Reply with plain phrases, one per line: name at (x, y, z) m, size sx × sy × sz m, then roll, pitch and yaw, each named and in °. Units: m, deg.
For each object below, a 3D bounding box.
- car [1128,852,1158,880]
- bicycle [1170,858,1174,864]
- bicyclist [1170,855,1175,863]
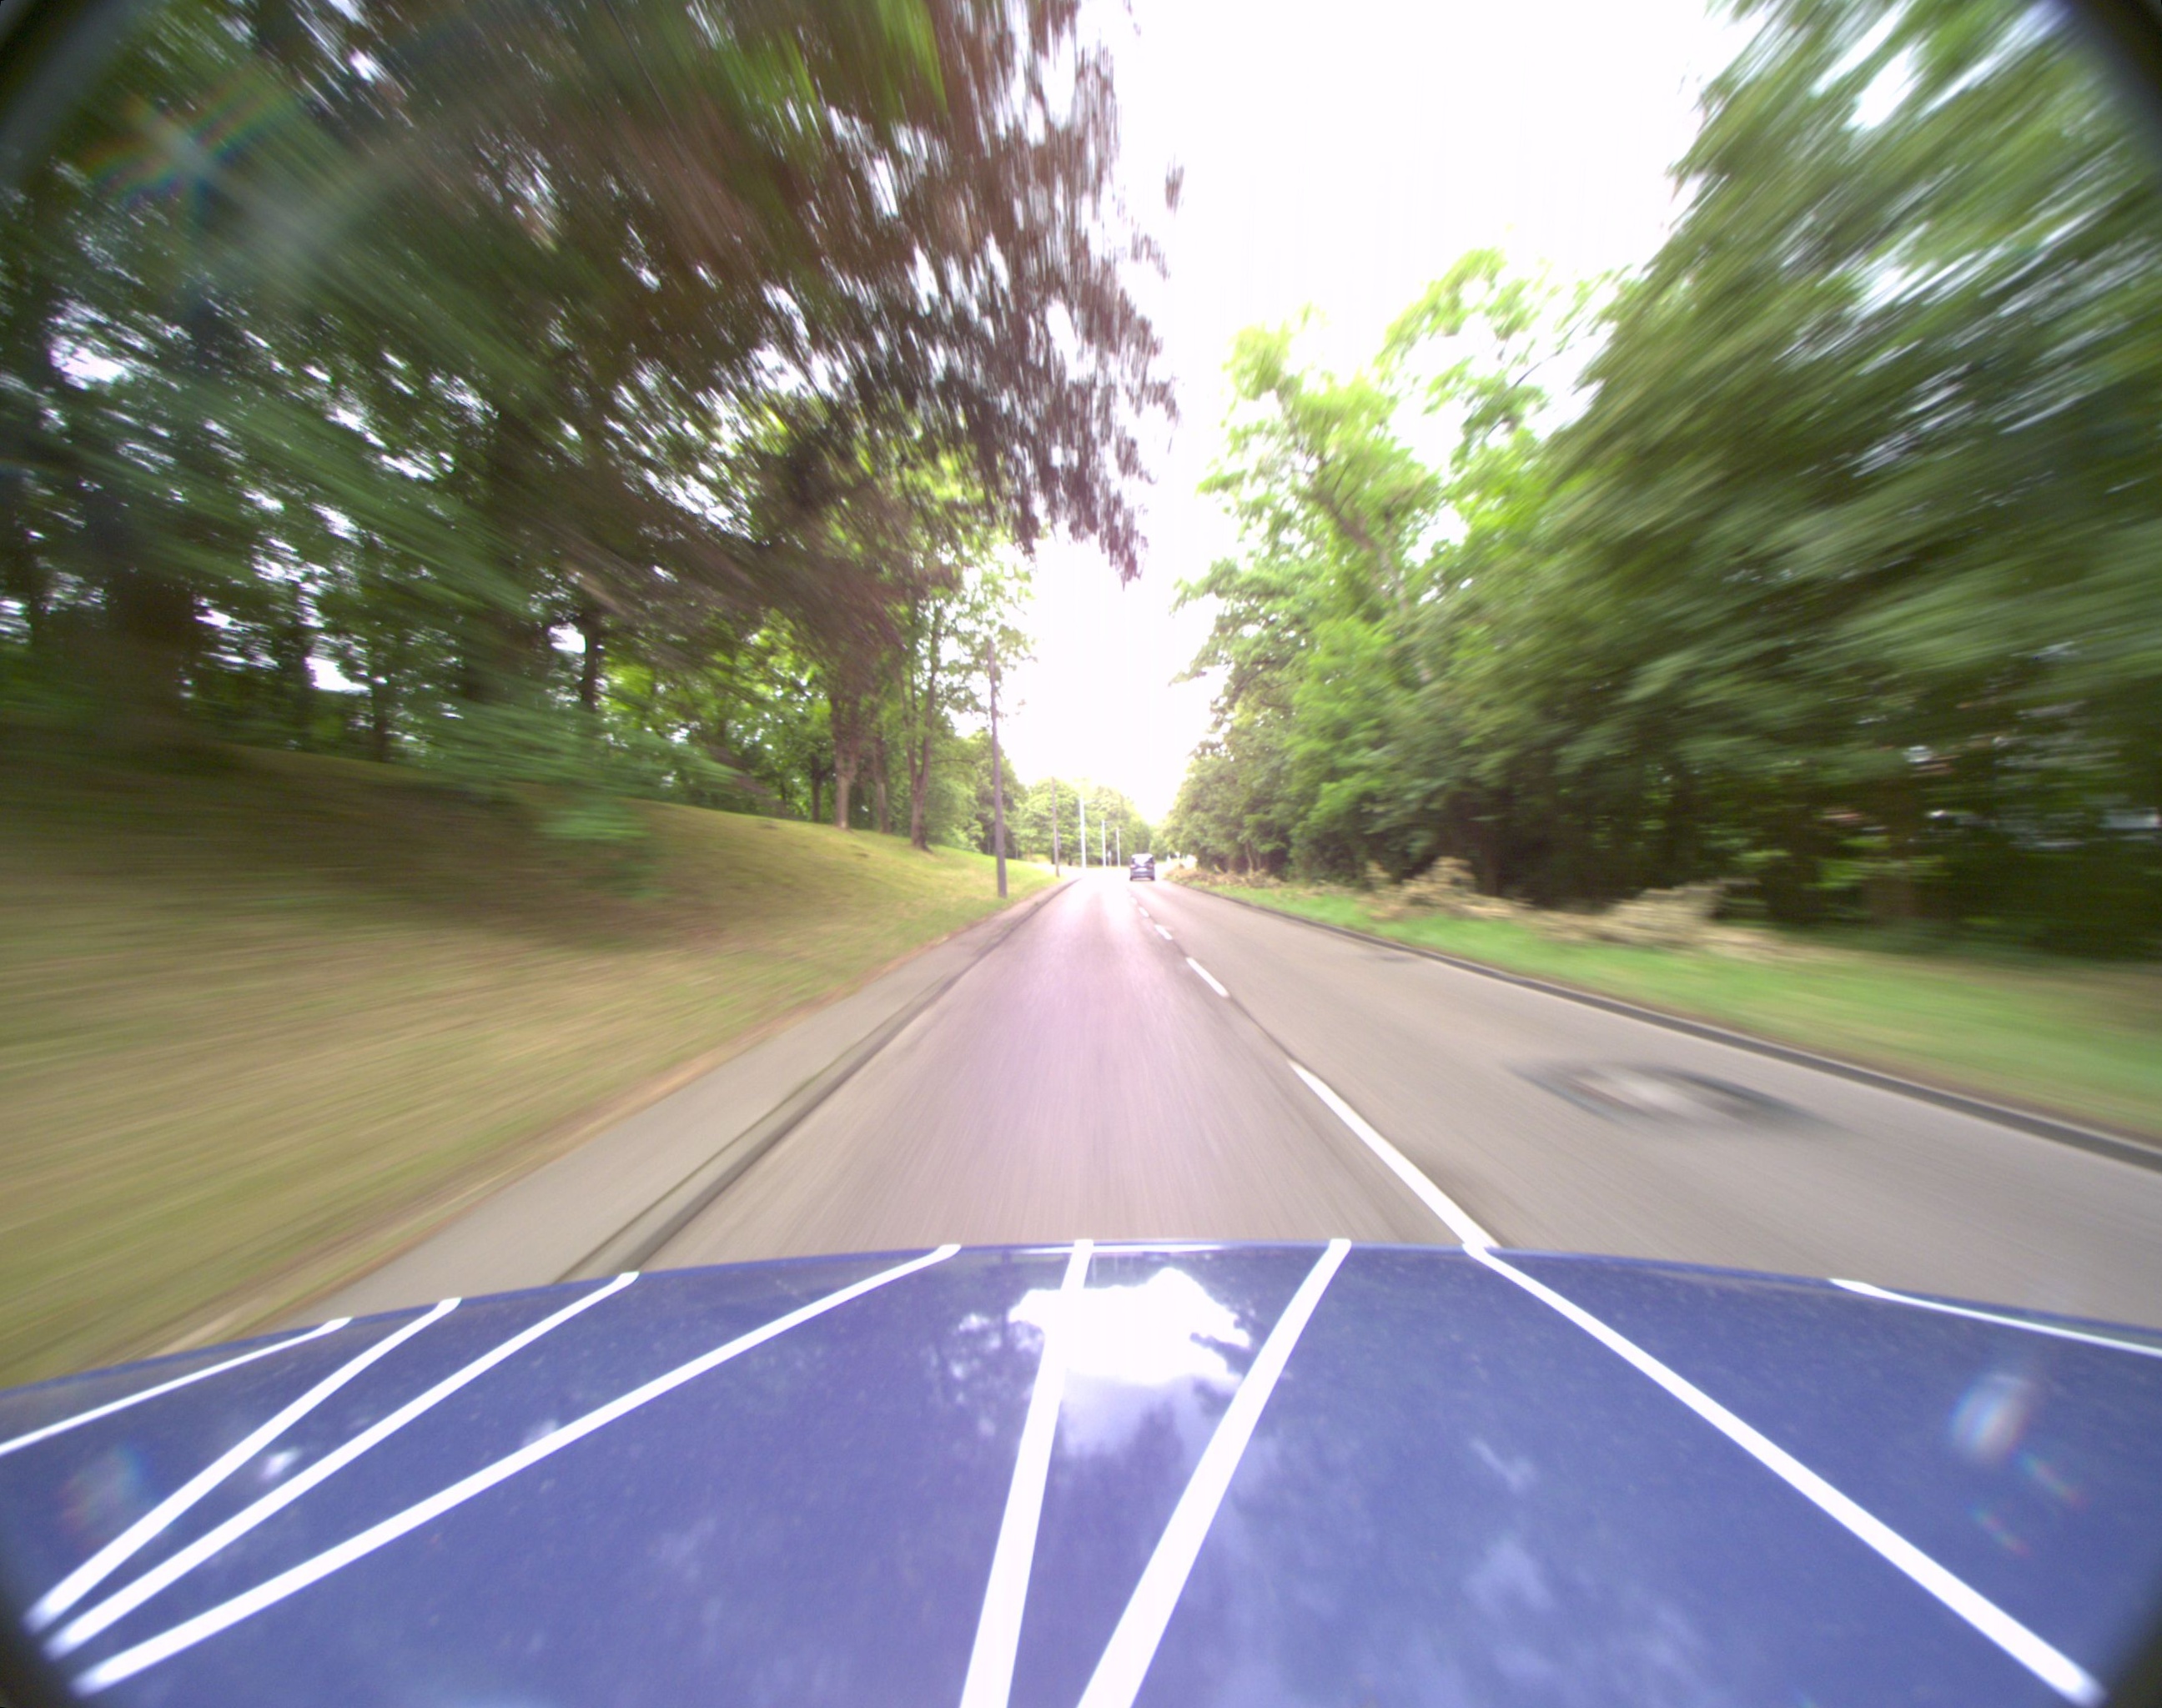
car at (4.674, 0.864, 57.800) m, size 1.998 × 1.936 × 4.946 m, roll -2°, pitch 0°, yaw 2°
bicycle at (15.870, 1.197, 132.263) m, size 0.666 × 1.068 × 2.147 m, roll -2°, pitch 0°, yaw 9°
bicyclist at (15.872, 0.858, 132.138) m, size 0.666 × 1.511 × 1.272 m, roll -2°, pitch 0°, yaw 9°
